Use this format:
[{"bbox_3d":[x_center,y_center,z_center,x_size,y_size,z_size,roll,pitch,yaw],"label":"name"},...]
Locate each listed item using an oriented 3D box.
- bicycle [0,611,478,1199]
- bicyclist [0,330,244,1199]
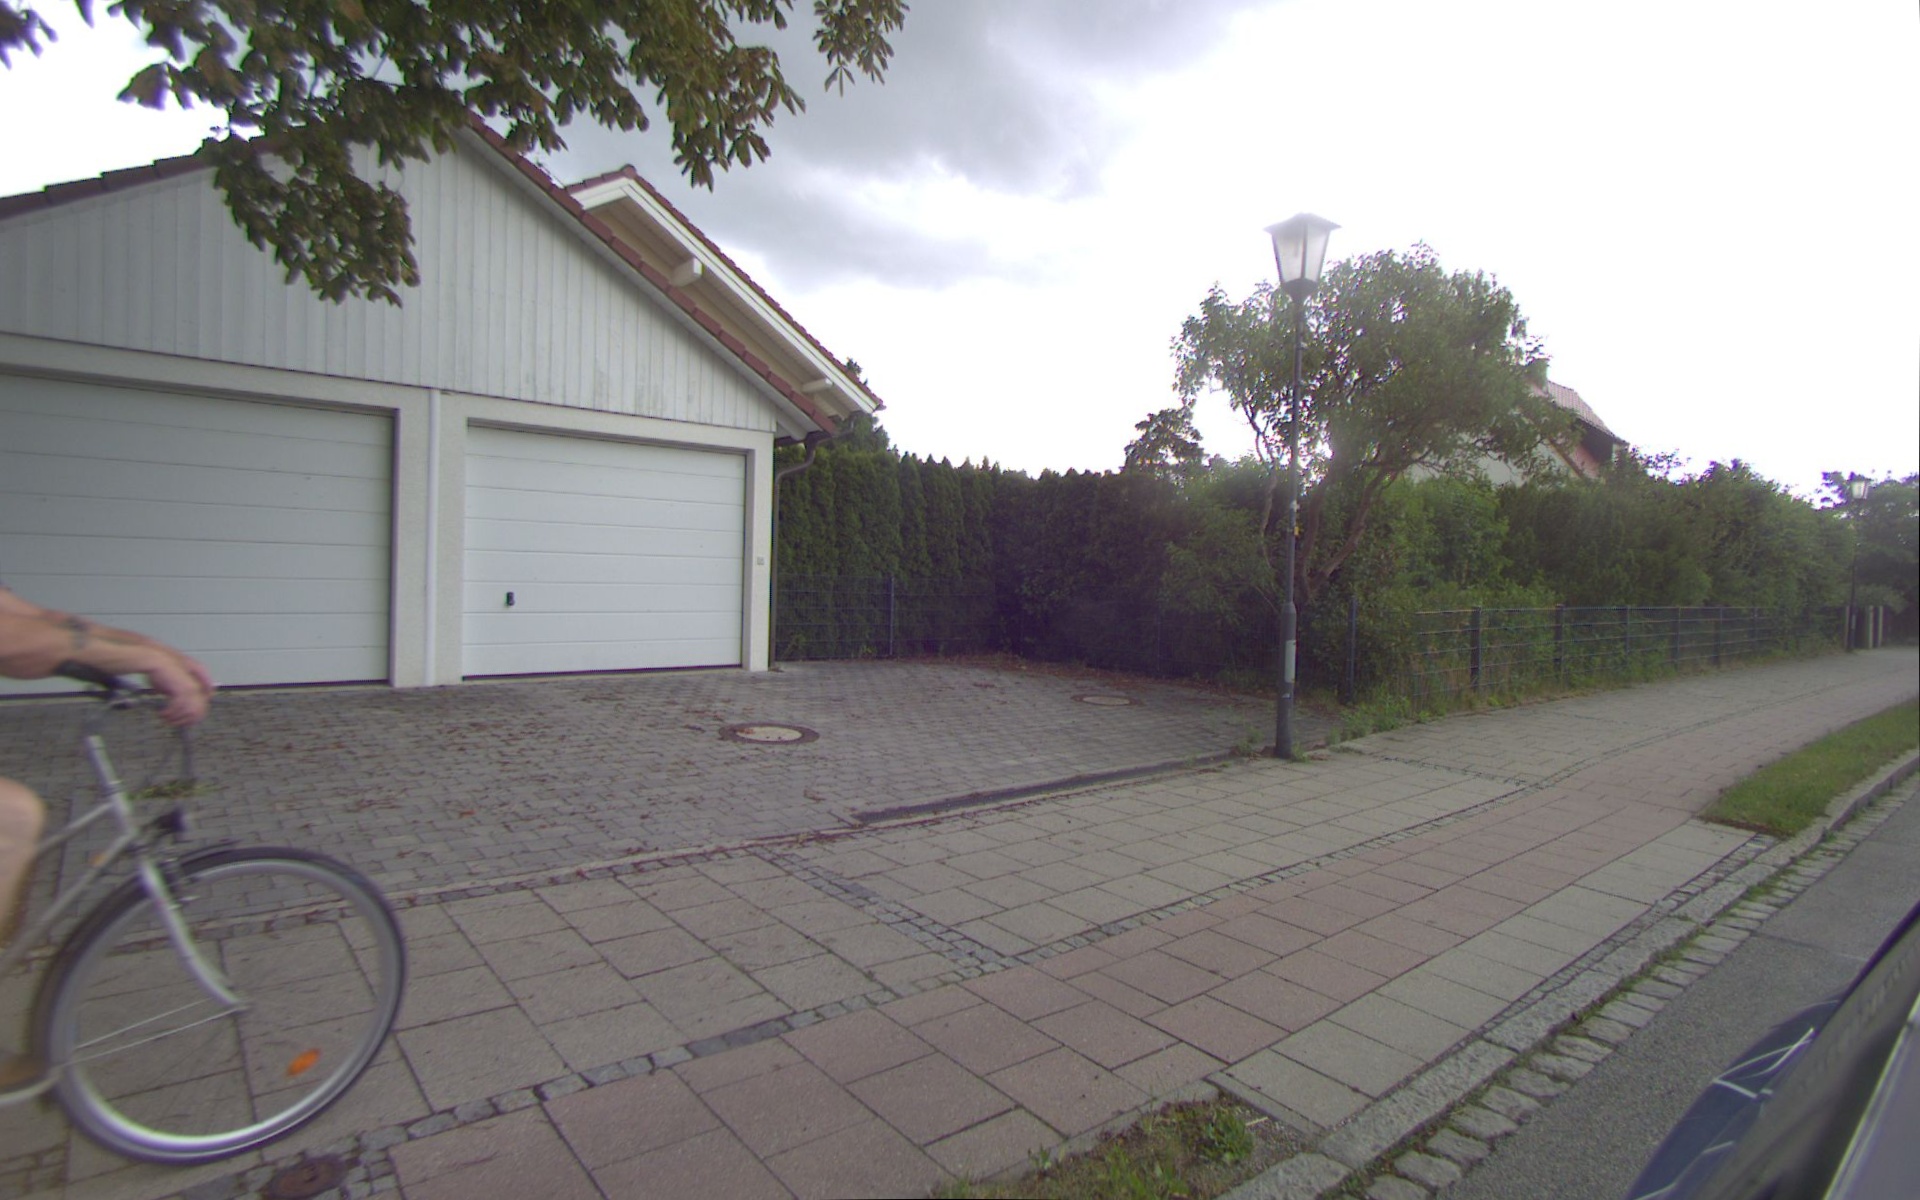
[{"bbox_3d":[-2.007,0.619,1.958,1.811,1.157,0.766,0,1,-39],"label":"bicycle"},{"bbox_3d":[-1.963,0.351,1.991,0.874,1.653,0.738,0,1,-37],"label":"bicyclist"}]
